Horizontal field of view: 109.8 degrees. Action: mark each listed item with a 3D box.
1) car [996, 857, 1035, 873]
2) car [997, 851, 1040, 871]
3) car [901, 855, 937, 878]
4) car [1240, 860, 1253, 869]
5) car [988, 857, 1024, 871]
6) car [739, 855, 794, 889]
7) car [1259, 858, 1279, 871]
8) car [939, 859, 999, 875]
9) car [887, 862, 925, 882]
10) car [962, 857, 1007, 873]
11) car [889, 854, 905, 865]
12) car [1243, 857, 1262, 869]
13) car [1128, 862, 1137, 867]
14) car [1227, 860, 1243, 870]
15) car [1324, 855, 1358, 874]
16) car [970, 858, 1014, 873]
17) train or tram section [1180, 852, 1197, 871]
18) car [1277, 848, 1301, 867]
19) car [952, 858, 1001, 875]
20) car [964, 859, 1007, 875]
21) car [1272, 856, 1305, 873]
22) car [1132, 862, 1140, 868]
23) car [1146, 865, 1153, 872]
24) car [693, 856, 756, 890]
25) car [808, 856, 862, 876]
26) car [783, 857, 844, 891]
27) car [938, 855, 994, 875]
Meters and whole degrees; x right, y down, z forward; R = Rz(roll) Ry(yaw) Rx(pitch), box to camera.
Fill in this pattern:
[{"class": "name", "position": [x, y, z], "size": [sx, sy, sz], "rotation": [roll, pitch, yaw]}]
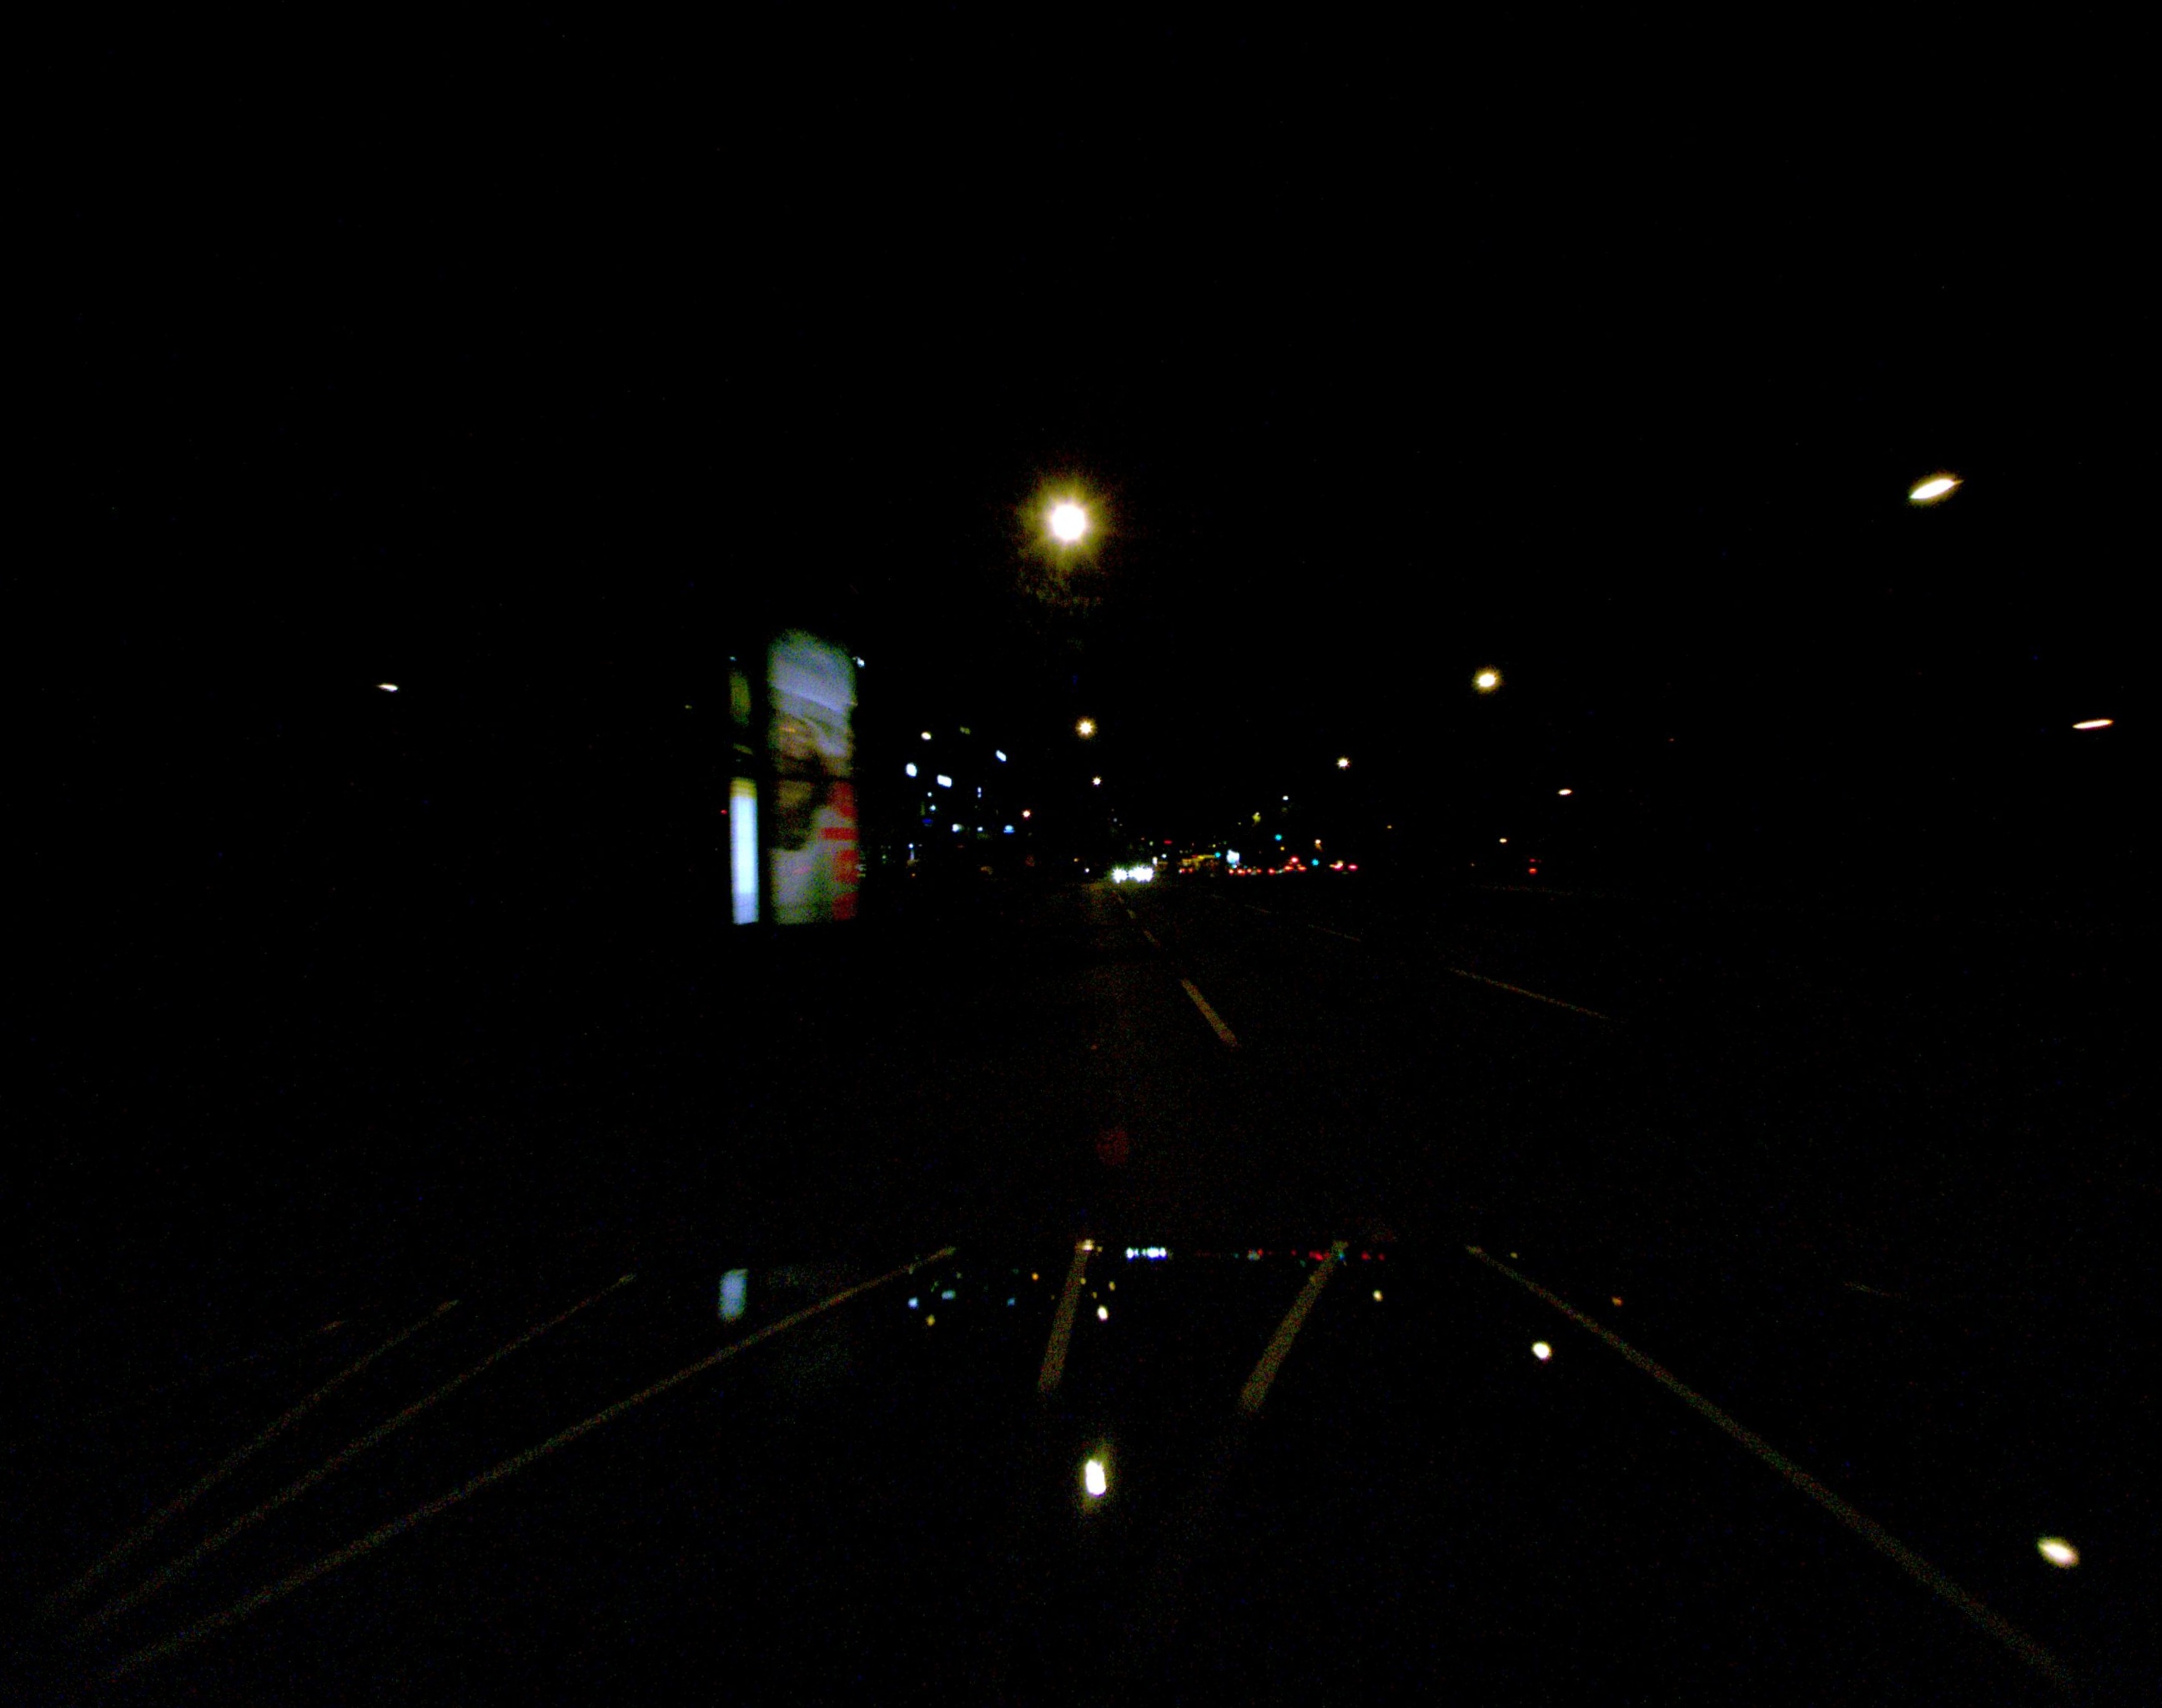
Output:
[{"class": "car", "position": [-7.771, 1.309, 90.617], "size": [4.474, 1.538, 1.769], "rotation": [4, 0, -5]}, {"class": "car", "position": [-9.406, 1.031, 114.131], "size": [6.039, 2.514, 2.281], "rotation": [5, -1, -12]}, {"class": "car", "position": [-13.990, 1.088, 65.428], "size": [1.592, 1.786, 3.858], "rotation": [-1, 2, -36]}, {"class": "car", "position": [29.274, 1.832, 134.498], "size": [1.663, 1.507, 3.912], "rotation": [-1, 0, 6]}, {"class": "car", "position": [-8.364, 1.105, 84.957], "size": [3.815, 1.444, 1.716], "rotation": [2, -1, -10]}, {"class": "car", "position": [-19.921, 1.114, 48.289], "size": [1.816, 1.982, 4.408], "rotation": [-1, 0, -3]}, {"class": "car", "position": [24.795, 1.387, 100.308], "size": [1.783, 1.703, 4.228], "rotation": [-1, 0, 4]}, {"class": "car", "position": [-9.409, 1.081, 63.701], "size": [4.649, 1.256, 1.944], "rotation": [0, -2, -21]}, {"class": "car", "position": [-14.180, 1.420, 61.454], "size": [1.781, 1.401, 4.328], "rotation": [-1, 1, -30]}, {"class": "car", "position": [-9.103, 1.052, 71.754], "size": [4.003, 1.461, 1.831], "rotation": [2, -1, -15]}, {"class": "car", "position": [-27.350, 0.794, 112.727], "size": [2.002, 1.652, 4.660], "rotation": [-1, 0, -18]}, {"class": "car", "position": [22.222, 1.128, 98.492], "size": [1.624, 1.431, 4.339], "rotation": [1, 0, 3]}, {"class": "car", "position": [12.959, 2.646, 191.429], "size": [1.946, 1.299, 3.909], "rotation": [1, -1, 11]}, {"class": "car", "position": [24.644, 1.754, 121.650], "size": [1.789, 1.488, 4.174], "rotation": [-1, 0, 1]}, {"class": "car", "position": [22.573, 0.904, 66.189], "size": [1.866, 1.505, 4.617], "rotation": [1, 0, 7]}, {"class": "car", "position": [-8.773, 1.141, 74.509], "size": [4.004, 1.383, 1.824], "rotation": [2, -2, -18]}, {"class": "train or tram section", "position": [23.201, 1.653, 165.124], "size": [2.764, 3.804, 18.681], "rotation": [-1, -1, 5]}, {"class": "car", "position": [29.549, 0.499, 108.086], "size": [2.149, 2.655, 6.966], "rotation": [2, 0, 6]}, {"class": "car", "position": [-9.166, 1.092, 66.493], "size": [4.002, 1.415, 1.907], "rotation": [0, -2, -13]}, {"class": "car", "position": [-8.675, 1.174, 68.885], "size": [3.616, 1.425, 1.677], "rotation": [-1, 0, -19]}, {"class": "car", "position": [19.548, 0.981, 71.732], "size": [1.871, 1.420, 4.957], "rotation": [-1, 0, 1]}, {"class": "car", "position": [14.986, 2.928, 206.990], "size": [1.711, 1.562, 4.000], "rotation": [-1, 0, 1]}, {"class": "car", "position": [17.624, 3.778, 195.448], "size": [1.907, 1.608, 3.720], "rotation": [-1, 0, 6]}, {"class": "car", "position": [-22.343, 1.162, 47.803], "size": [1.957, 1.982, 4.408], "rotation": [-1, 0, -3]}, {"class": "car", "position": [-21.839, 1.055, 67.483], "size": [4.329, 1.644, 1.653], "rotation": [-1, 0, -33]}, {"class": "car", "position": [-17.018, 1.215, 48.698], "size": [1.999, 2.002, 5.627], "rotation": [-1, 0, -2]}, {"class": "car", "position": [-8.819, 0.864, 58.207], "size": [4.135, 1.412, 1.875], "rotation": [-1, 0, -9]}]
